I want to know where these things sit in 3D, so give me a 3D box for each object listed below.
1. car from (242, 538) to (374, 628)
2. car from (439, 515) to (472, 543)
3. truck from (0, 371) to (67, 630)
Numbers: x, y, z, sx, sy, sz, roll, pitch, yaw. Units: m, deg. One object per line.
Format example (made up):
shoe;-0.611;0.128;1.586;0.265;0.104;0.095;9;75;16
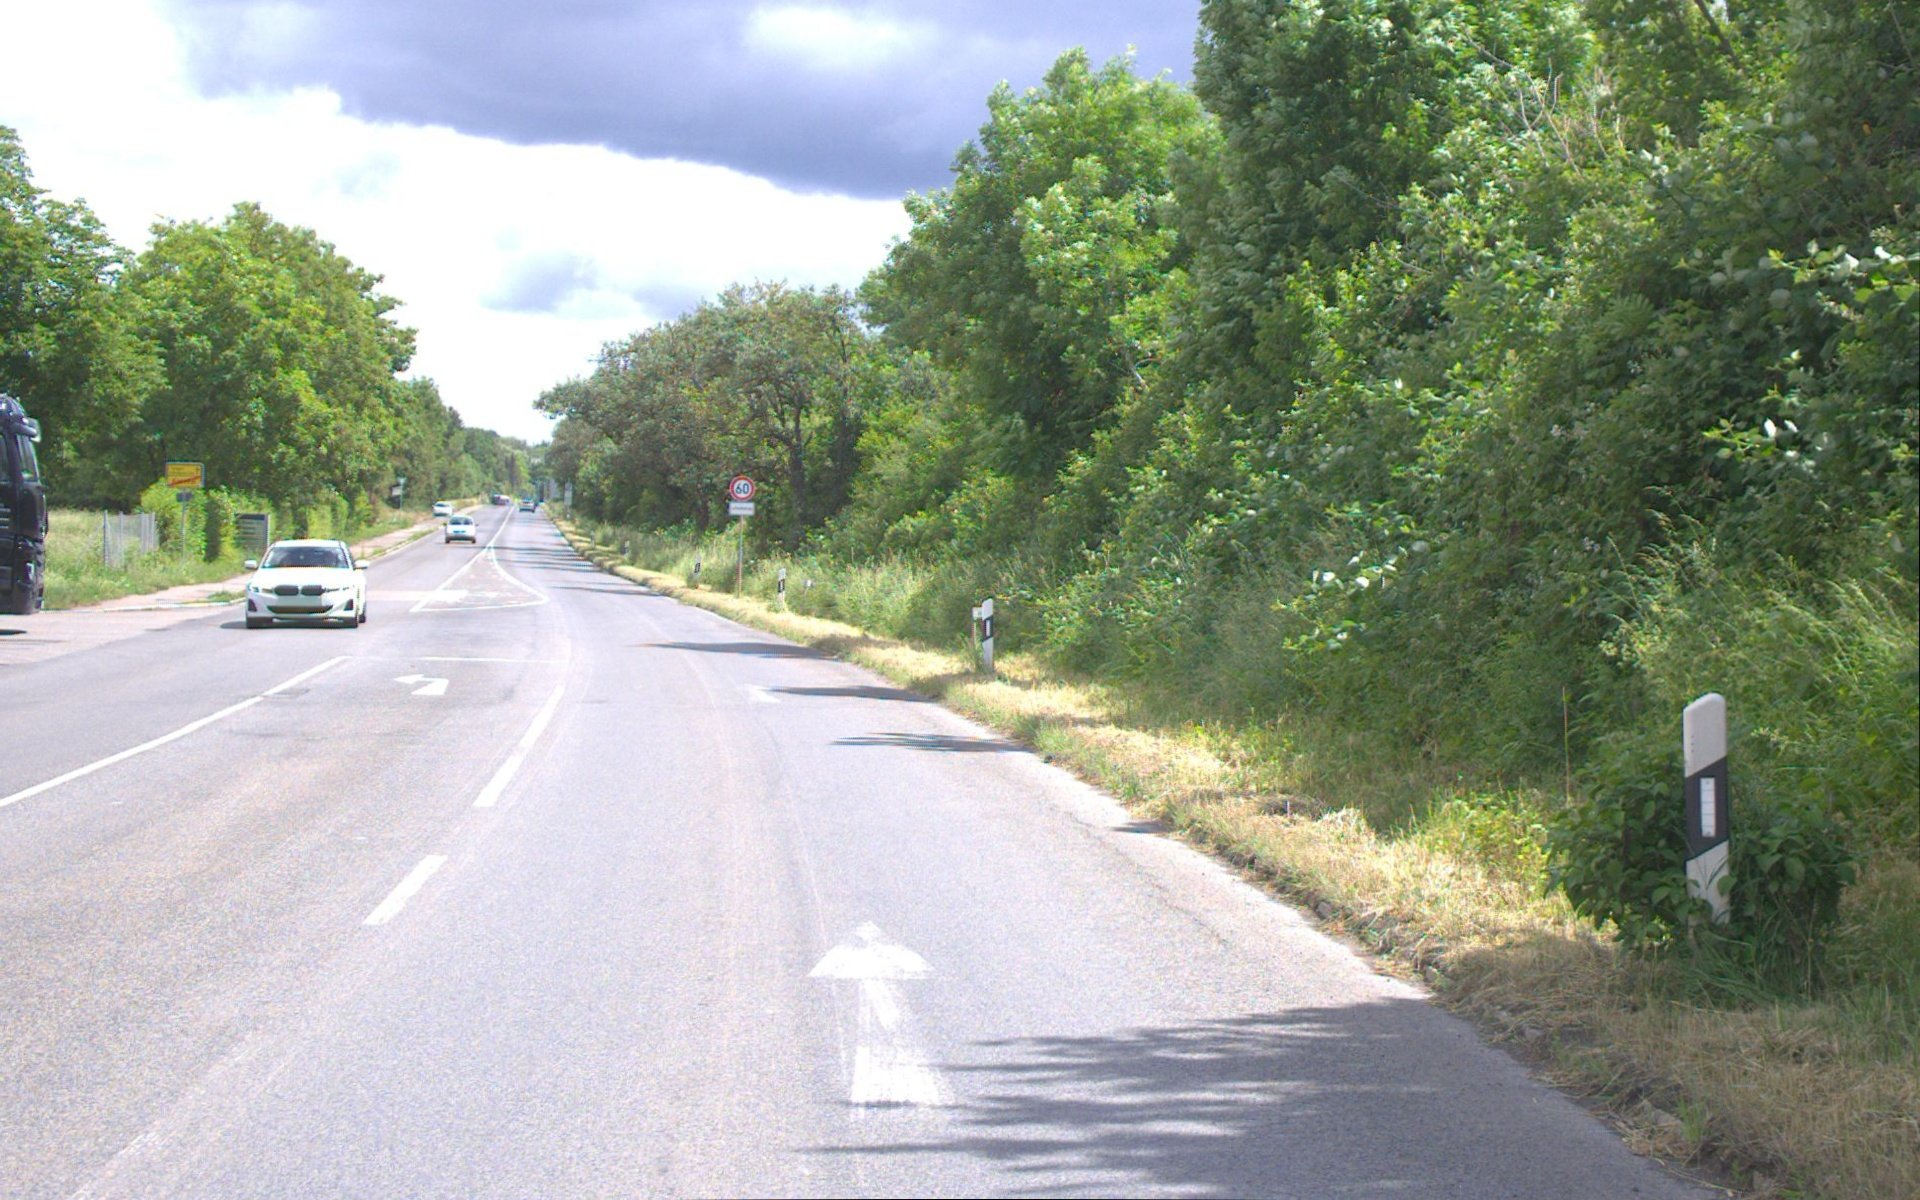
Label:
car;-10.908;-0.300;57.753;1.993;1.445;4.428;0;1;-9
car;-26.555;-3.762;181.106;1.660;1.427;3.694;0;2;-7
truck;-16.421;-1.531;51.782;5.552;3.810;2.985;1;1;-11
